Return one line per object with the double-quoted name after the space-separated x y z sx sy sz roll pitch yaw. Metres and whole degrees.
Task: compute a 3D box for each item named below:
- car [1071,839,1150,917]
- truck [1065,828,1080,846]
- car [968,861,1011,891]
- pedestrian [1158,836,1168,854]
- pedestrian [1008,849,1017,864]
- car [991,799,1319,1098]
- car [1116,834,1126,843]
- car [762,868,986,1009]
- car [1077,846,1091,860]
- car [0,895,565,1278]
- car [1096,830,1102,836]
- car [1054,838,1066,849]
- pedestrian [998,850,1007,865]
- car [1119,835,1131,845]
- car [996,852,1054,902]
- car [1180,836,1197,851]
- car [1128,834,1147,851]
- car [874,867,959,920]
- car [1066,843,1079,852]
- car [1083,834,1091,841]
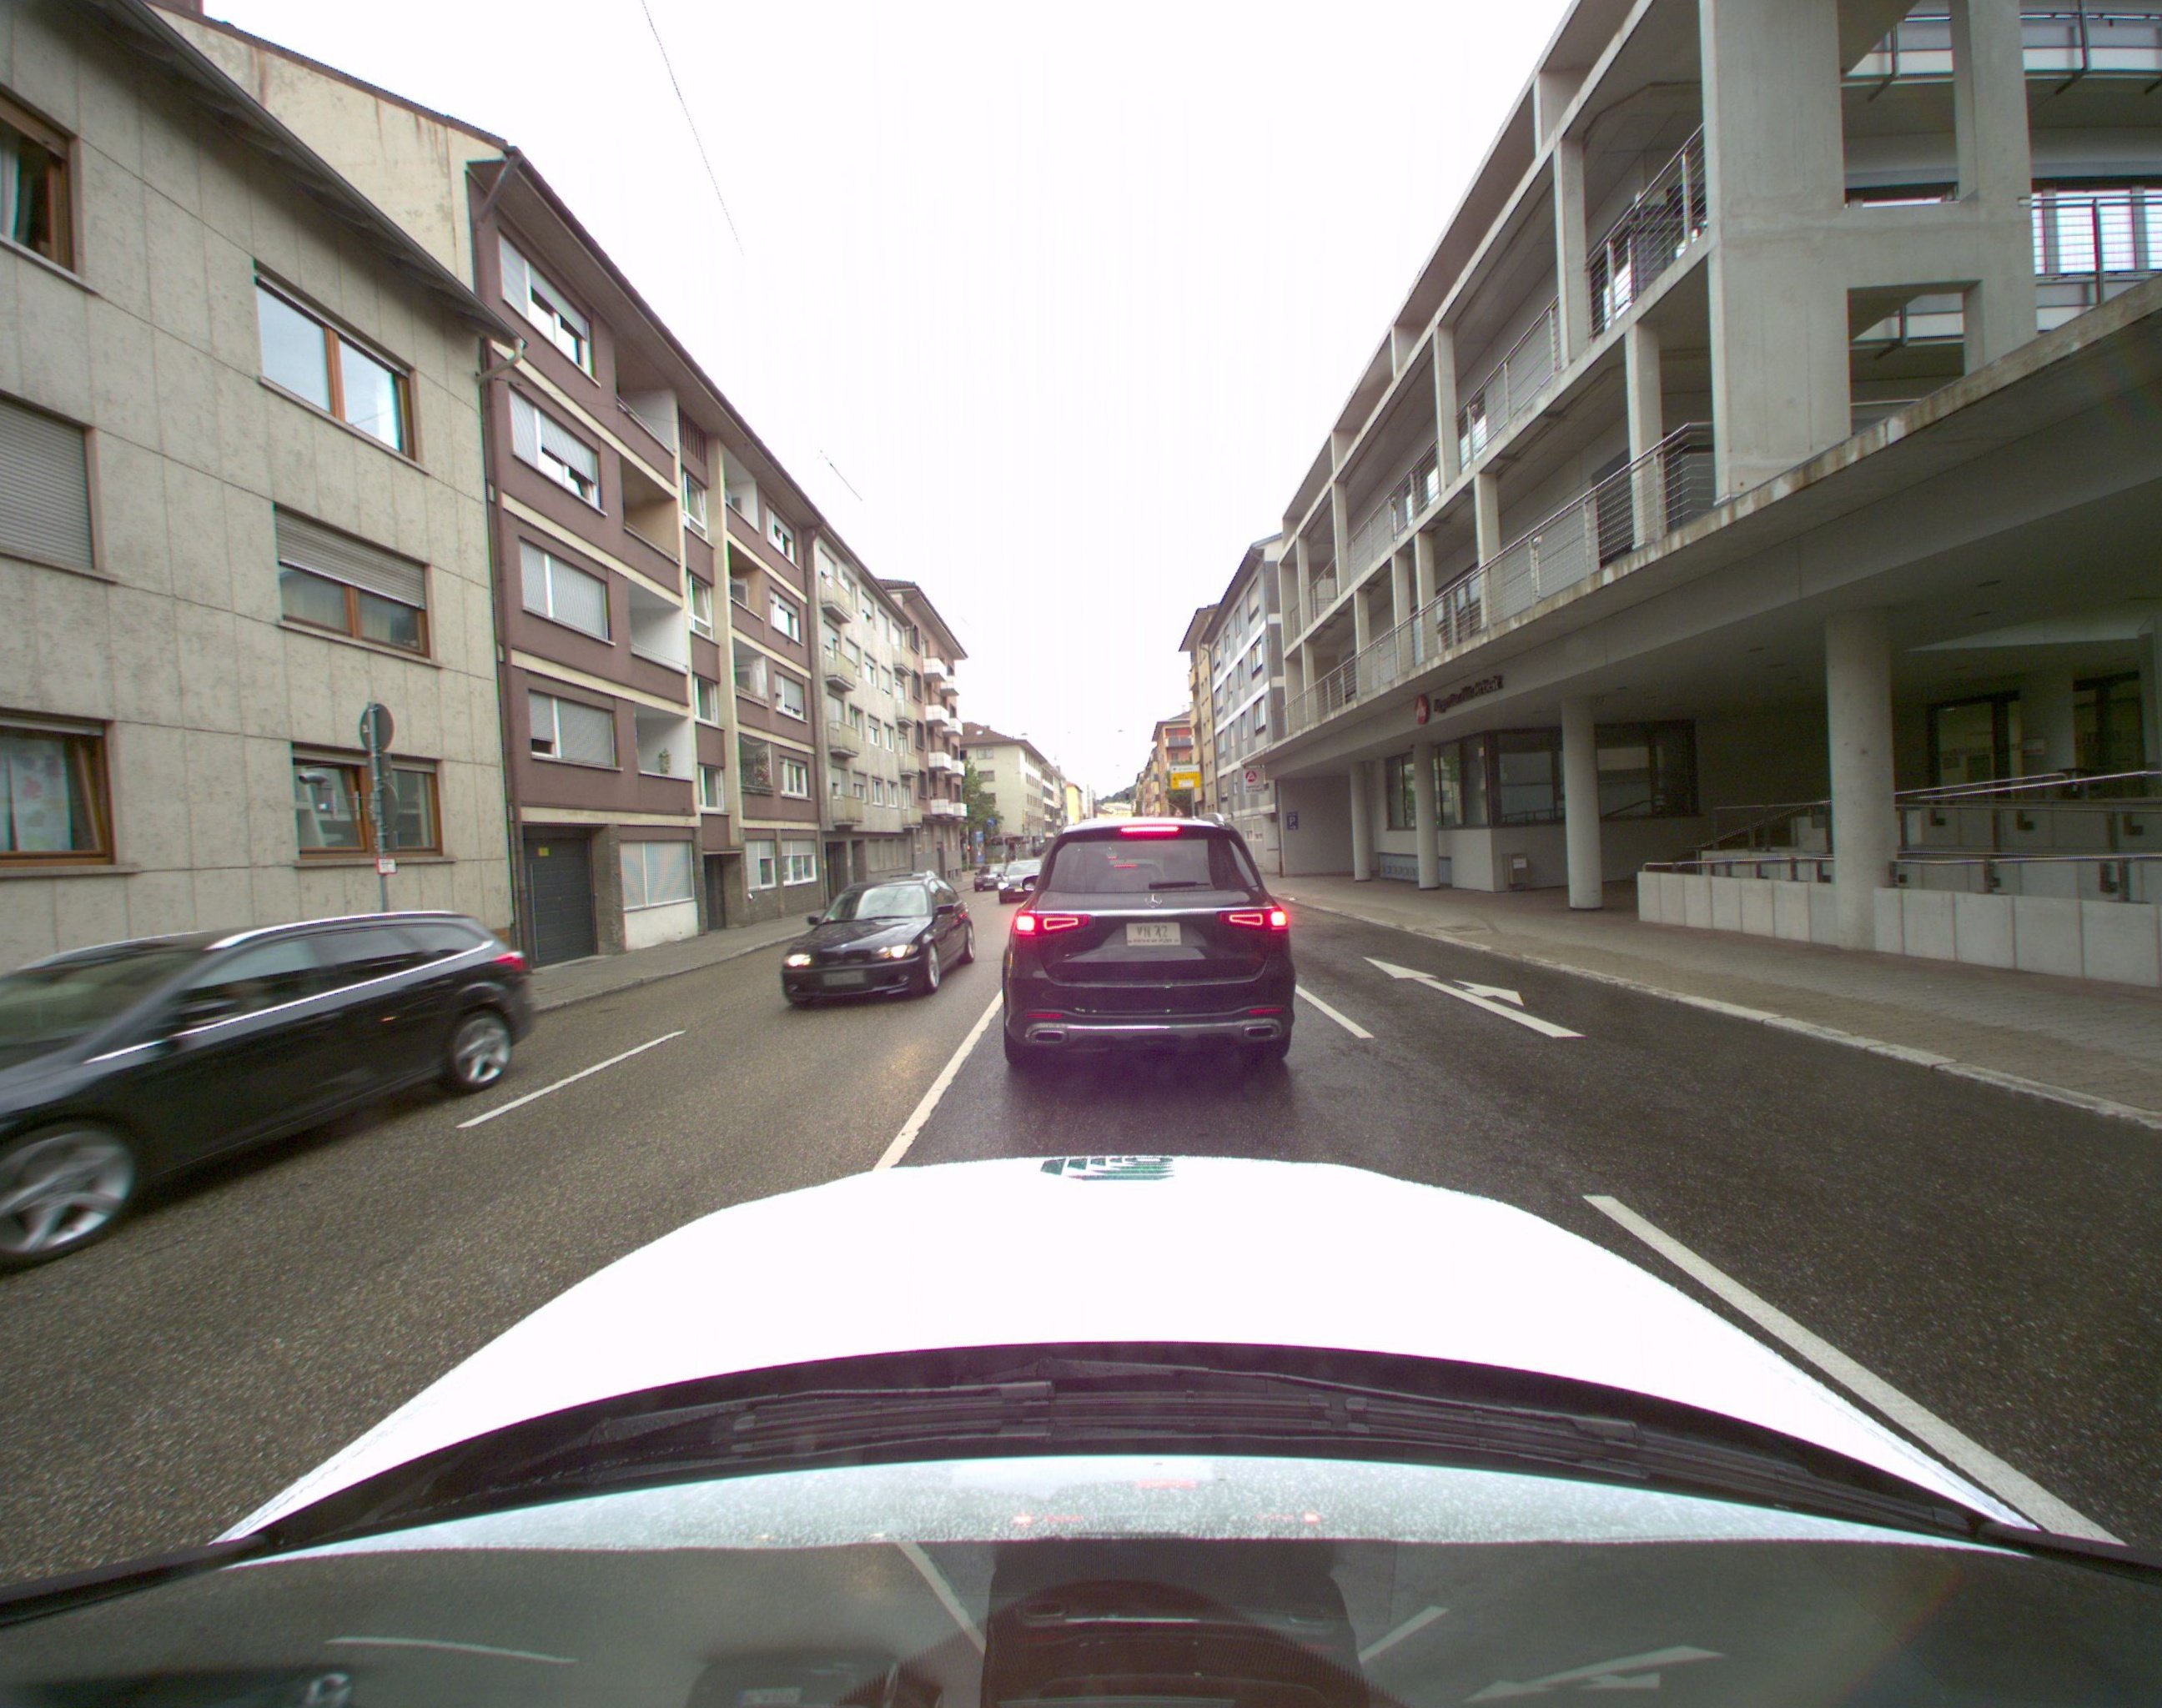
0.673 0.577 20.960 1.746 1.731 4.216 -3 -1 0 "car"
-1.593 -3.166 157.373 2.472 3.046 9.917 -4 -1 0 "truck"
-4.853 1.126 43.637 1.593 1.370 4.362 -6 0 1 "car"
9.438 -1.065 94.065 0.920 2.013 0.706 -3 0 0 "pedestrian"
-8.594 0.328 102.334 0.920 1.902 0.706 -3 0 0 "pedestrian"
0.516 0.591 7.138 1.977 1.805 4.391 0 -1 2 "car"
8.195 -3.218 167.833 1.613 1.539 4.216 -5 -1 0 "car"
-2.510 0.961 10.999 1.688 1.370 4.220 -5 -1 2 "car"
0.390 -0.136 101.432 1.613 1.539 4.216 -5 -1 0 "car"
-5.639 1.192 5.234 1.717 1.473 4.374 -5 0 0 "car"
5.556 -6.360 250.457 1.613 1.539 4.216 -5 -1 0 "car"
-3.380 -1.703 131.949 1.613 1.539 4.216 -5 -1 0 "car"
-8.922 0.399 92.812 0.630 1.764 0.776 -3 0 17 "pedestrian"
7.625 -2.429 140.810 1.613 1.539 4.216 -5 -1 0 "car"
-2.007 0.828 30.432 1.689 1.580 4.218 -5 -1 1 "car"
12.484 -1.169 94.539 1.664 1.588 3.334 -3 0 4 "car"
6.476 -1.325 93.367 1.718 1.759 4.216 -5 -1 0 "car"
-5.153 1.199 26.102 1.689 1.370 4.366 -5 -1 0 "car"
-1.277 -0.988 123.630 1.879 1.264 4.216 -5 -1 0 "car"
1.460 -3.941 193.972 1.613 1.539 4.216 -5 -1 0 "car"
